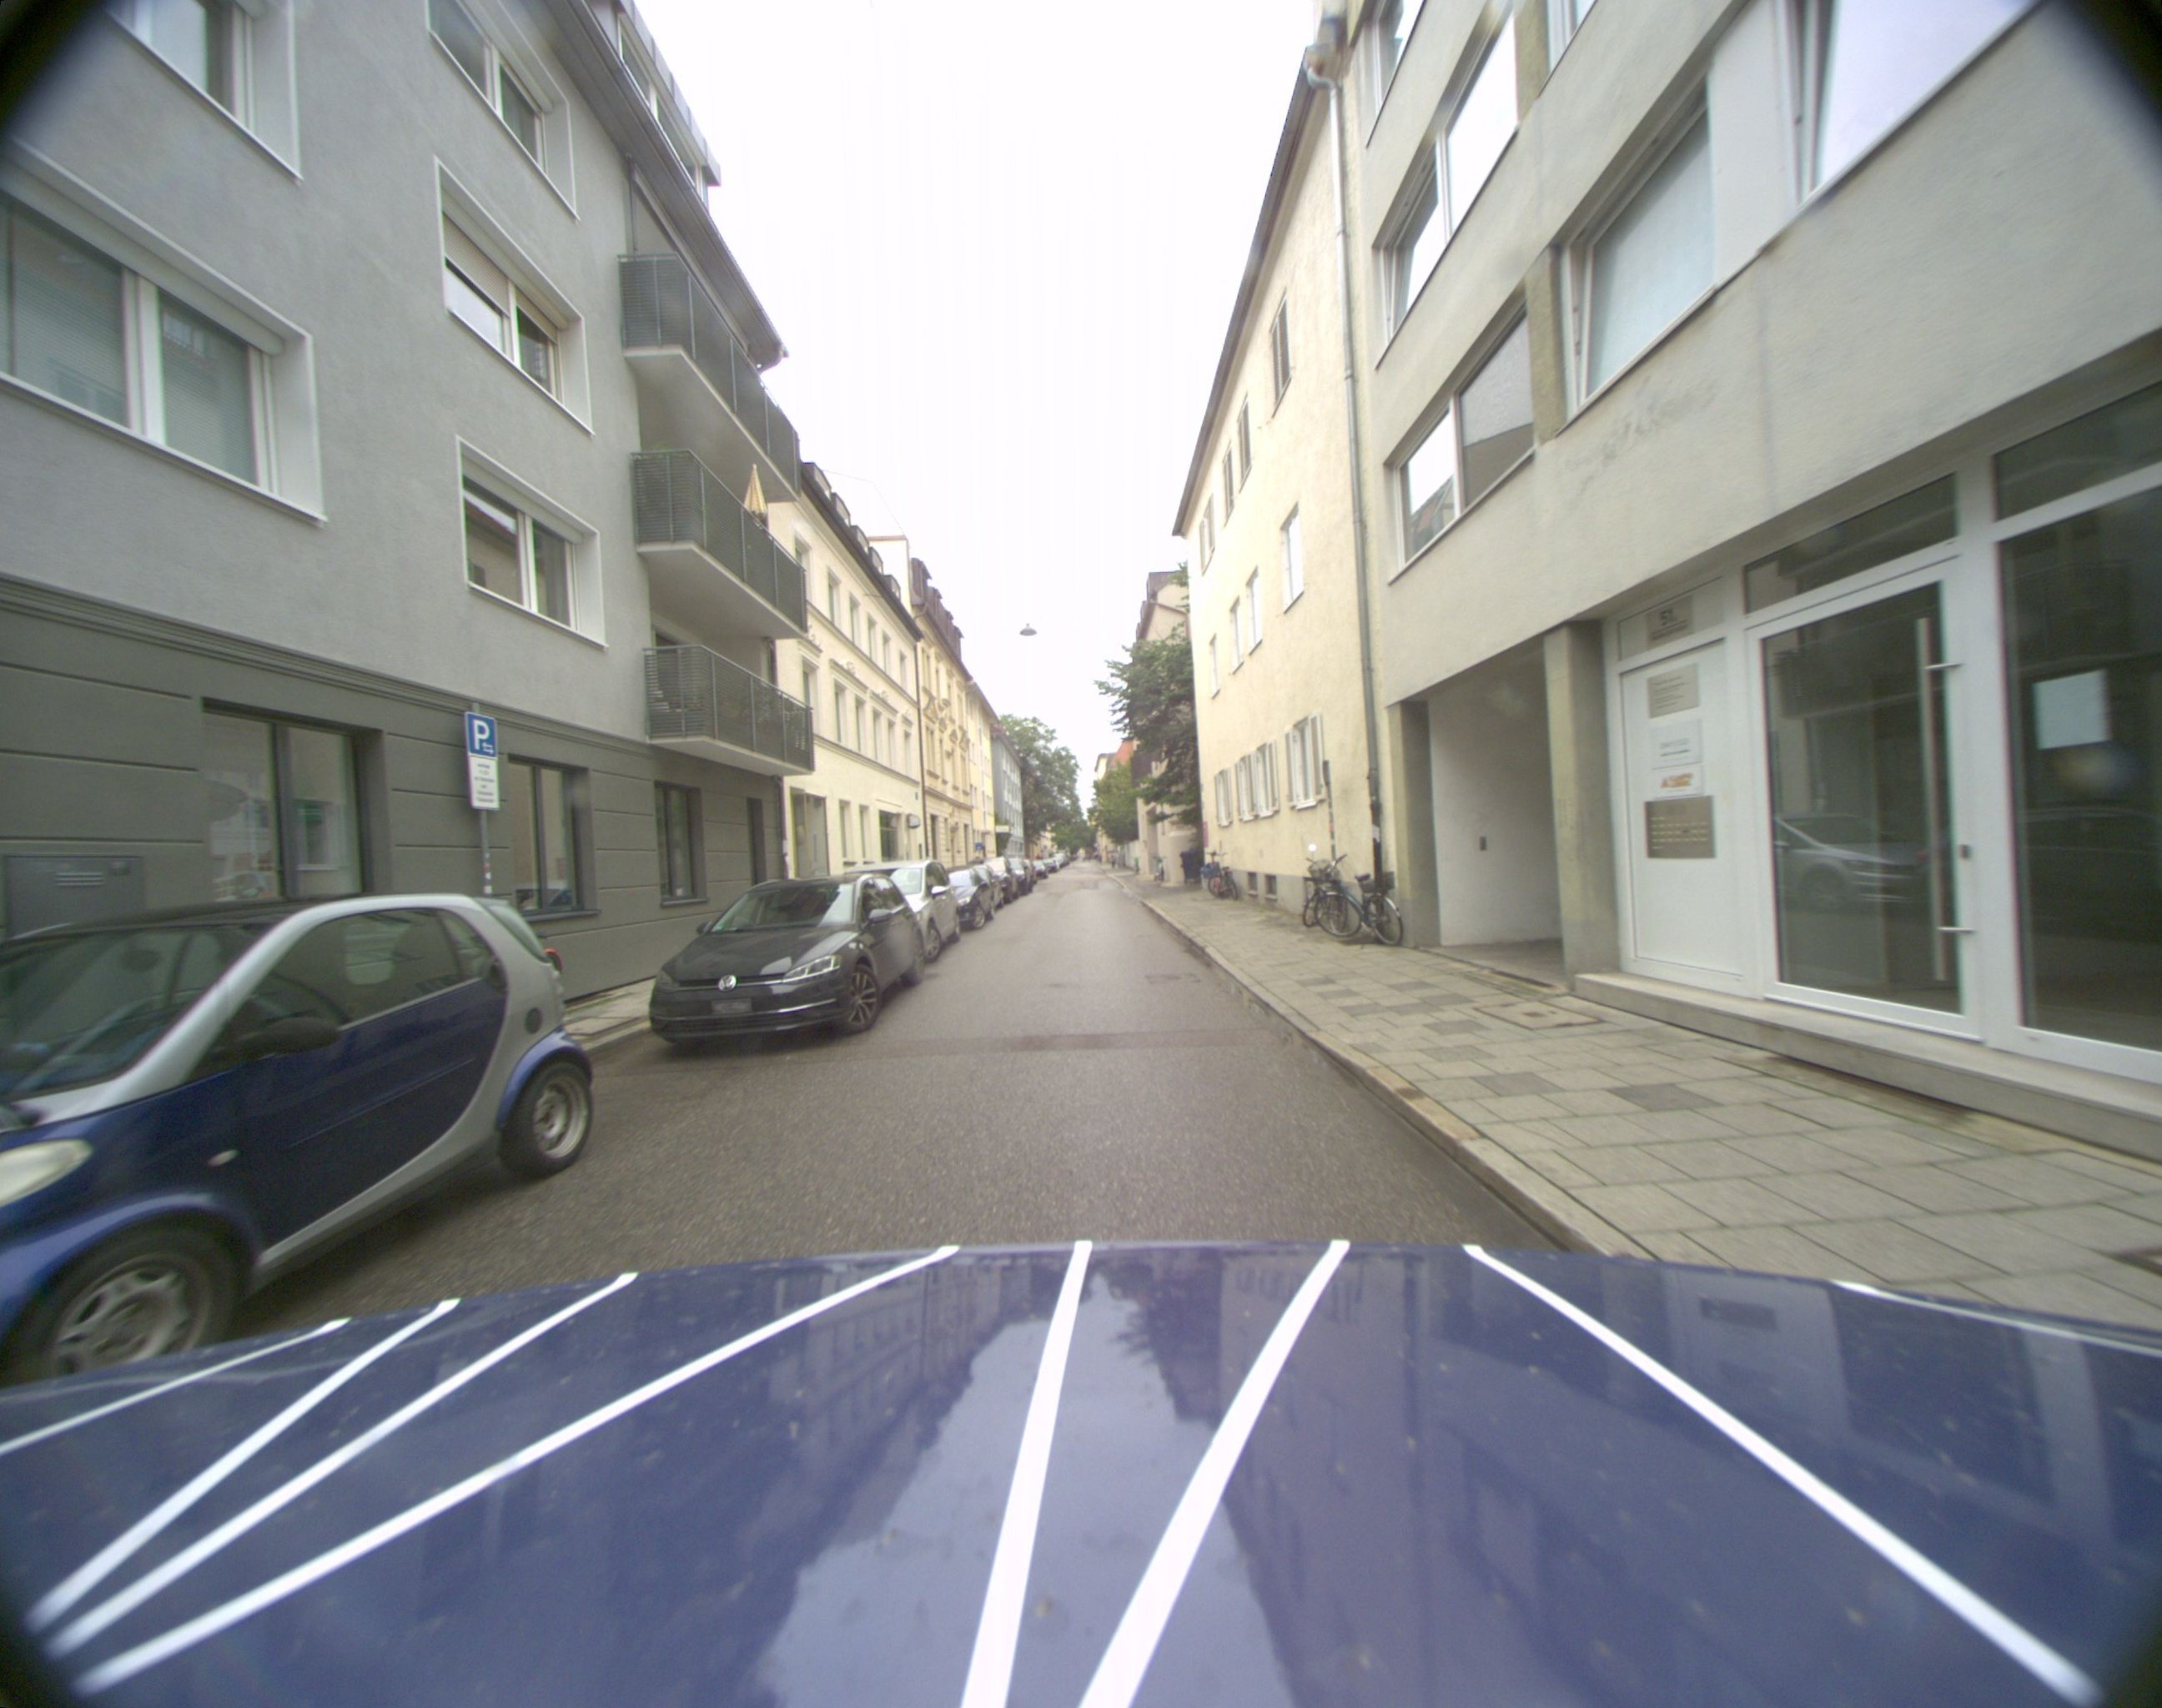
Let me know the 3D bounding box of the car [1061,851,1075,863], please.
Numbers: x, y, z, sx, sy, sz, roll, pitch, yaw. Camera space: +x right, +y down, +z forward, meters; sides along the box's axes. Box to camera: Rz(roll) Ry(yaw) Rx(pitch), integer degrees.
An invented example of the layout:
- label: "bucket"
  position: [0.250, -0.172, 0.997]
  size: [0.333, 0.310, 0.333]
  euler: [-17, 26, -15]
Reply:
- label: "car"
  position: [-2.343, 0.490, 139.178]
  size: [2.014, 1.989, 5.090]
  euler: [-7, 0, 1]

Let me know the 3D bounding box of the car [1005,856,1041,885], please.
- label: "car"
  position: [-3.336, 0.921, 44.390]
  size: [1.680, 1.484, 3.853]
  euler: [-3, 0, 0]

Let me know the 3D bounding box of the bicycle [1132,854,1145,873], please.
- label: "bicycle"
  position: [3.668, 0.620, 48.593]
  size: [0.539, 1.132, 1.916]
  euler: [-5, 0, 0]

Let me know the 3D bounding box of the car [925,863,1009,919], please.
- label: "car"
  position: [-3.261, 1.011, 22.563]
  size: [1.804, 1.377, 4.348]
  euler: [-2, 0, 0]

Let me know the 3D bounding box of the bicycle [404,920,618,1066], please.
- label: "bicycle"
  position: [-5.655, 1.319, 7.727]
  size: [0.570, 1.085, 1.996]
  euler: [-3, 0, 2]

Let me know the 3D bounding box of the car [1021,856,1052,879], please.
- label: "car"
  position: [-3.099, 0.937, 54.185]
  size: [1.830, 1.327, 4.508]
  euler: [-7, 0, 0]

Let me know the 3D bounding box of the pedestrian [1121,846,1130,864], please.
- label: "pedestrian"
  position: [4.239, 0.093, 72.301]
  size: [0.615, 1.612, 0.687]
  euler: [-6, 1, 1]

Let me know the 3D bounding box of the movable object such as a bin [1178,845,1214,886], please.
- label: "movable object such as a bin"
  position: [4.450, 0.450, 29.570]
  size: [1.177, 1.433, 1.249]
  euler: [-8, -1, 6]

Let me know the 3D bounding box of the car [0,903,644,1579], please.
- label: "car"
  position: [-3.524, 1.108, 3.128]
  size: [1.525, 1.502, 3.202]
  euler: [-3, 0, -1]

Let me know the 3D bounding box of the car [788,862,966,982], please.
- label: "car"
  position: [-3.184, 0.971, 12.816]
  size: [1.880, 1.561, 4.315]
  euler: [-2, 0, -1]

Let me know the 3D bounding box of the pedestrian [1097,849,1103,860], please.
- label: "pedestrian"
  position: [3.118, 0.046, 127.199]
  size: [0.920, 1.742, 1.066]
  euler: [-3, 1, 0]

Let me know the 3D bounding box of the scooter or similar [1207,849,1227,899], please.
- label: "scooter or similar"
  position: [3.859, 0.555, 21.613]
  size: [0.318, 1.368, 1.239]
  euler: [-2, 1, 0]

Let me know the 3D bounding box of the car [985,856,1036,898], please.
- label: "car"
  position: [-3.000, 0.938, 33.262]
  size: [1.706, 1.597, 4.684]
  euler: [-3, 0, 0]

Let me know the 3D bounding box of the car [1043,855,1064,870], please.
- label: "car"
  position: [-2.910, 0.884, 81.464]
  size: [1.773, 1.437, 4.344]
  euler: [-7, 0, 1]

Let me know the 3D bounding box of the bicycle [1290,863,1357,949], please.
- label: "bicycle"
  position: [3.714, 0.759, 11.741]
  size: [0.459, 1.153, 1.605]
  euler: [-5, 1, 1]

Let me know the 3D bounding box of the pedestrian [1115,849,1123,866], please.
- label: "pedestrian"
  position: [3.571, 0.338, 72.266]
  size: [0.624, 1.570, 0.714]
  euler: [-4, 1, 0]

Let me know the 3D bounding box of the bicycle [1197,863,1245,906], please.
- label: "bicycle"
  position: [3.626, 0.768, 19.885]
  size: [0.705, 0.978, 1.822]
  euler: [-7, 1, -4]

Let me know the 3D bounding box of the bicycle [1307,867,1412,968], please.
- label: "bicycle"
  position: [3.624, 0.782, 10.026]
  size: [0.563, 1.153, 1.720]
  euler: [-3, 1, -5]

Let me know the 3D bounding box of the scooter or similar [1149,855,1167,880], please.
- label: "scooter or similar"
  position: [3.757, 0.650, 37.015]
  size: [0.553, 1.137, 1.359]
  euler: [-5, 1, 17]

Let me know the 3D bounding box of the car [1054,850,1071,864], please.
- label: "car"
  position: [-2.730, 0.462, 112.654]
  size: [1.998, 2.002, 5.064]
  euler: [-3, 0, 3]

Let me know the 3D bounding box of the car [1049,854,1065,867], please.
- label: "car"
  position: [-2.953, 0.804, 96.194]
  size: [1.860, 1.366, 4.509]
  euler: [-5, 0, -1]

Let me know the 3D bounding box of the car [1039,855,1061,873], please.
- label: "car"
  position: [-2.931, 0.900, 71.573]
  size: [1.846, 1.420, 4.263]
  euler: [-7, 0, -2]

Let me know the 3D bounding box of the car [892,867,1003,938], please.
- label: "car"
  position: [-3.022, 1.067, 18.025]
  size: [1.812, 1.355, 3.945]
  euler: [-2, 0, 1]

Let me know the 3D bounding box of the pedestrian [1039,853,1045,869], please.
- label: "pedestrian"
  position: [-4.836, 0.881, 94.637]
  size: [0.581, 1.966, 0.455]
  euler: [-3, 1, 0]

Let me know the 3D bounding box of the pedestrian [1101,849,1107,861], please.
- label: "pedestrian"
  position: [3.245, 0.112, 107.808]
  size: [0.766, 1.742, 0.970]
  euler: [-3, 1, 0]

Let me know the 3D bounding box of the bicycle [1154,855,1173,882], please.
- label: "bicycle"
  position: [3.791, 0.657, 34.950]
  size: [0.545, 1.154, 1.882]
  euler: [-5, 0, -1]

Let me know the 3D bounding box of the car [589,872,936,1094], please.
- label: "car"
  position: [-2.907, 1.068, 8.115]
  size: [1.844, 1.520, 4.292]
  euler: [-3, 0, -1]

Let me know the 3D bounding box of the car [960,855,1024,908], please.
- label: "car"
  position: [-3.141, 0.906, 27.508]
  size: [1.680, 1.651, 4.512]
  euler: [-3, 0, 0]
